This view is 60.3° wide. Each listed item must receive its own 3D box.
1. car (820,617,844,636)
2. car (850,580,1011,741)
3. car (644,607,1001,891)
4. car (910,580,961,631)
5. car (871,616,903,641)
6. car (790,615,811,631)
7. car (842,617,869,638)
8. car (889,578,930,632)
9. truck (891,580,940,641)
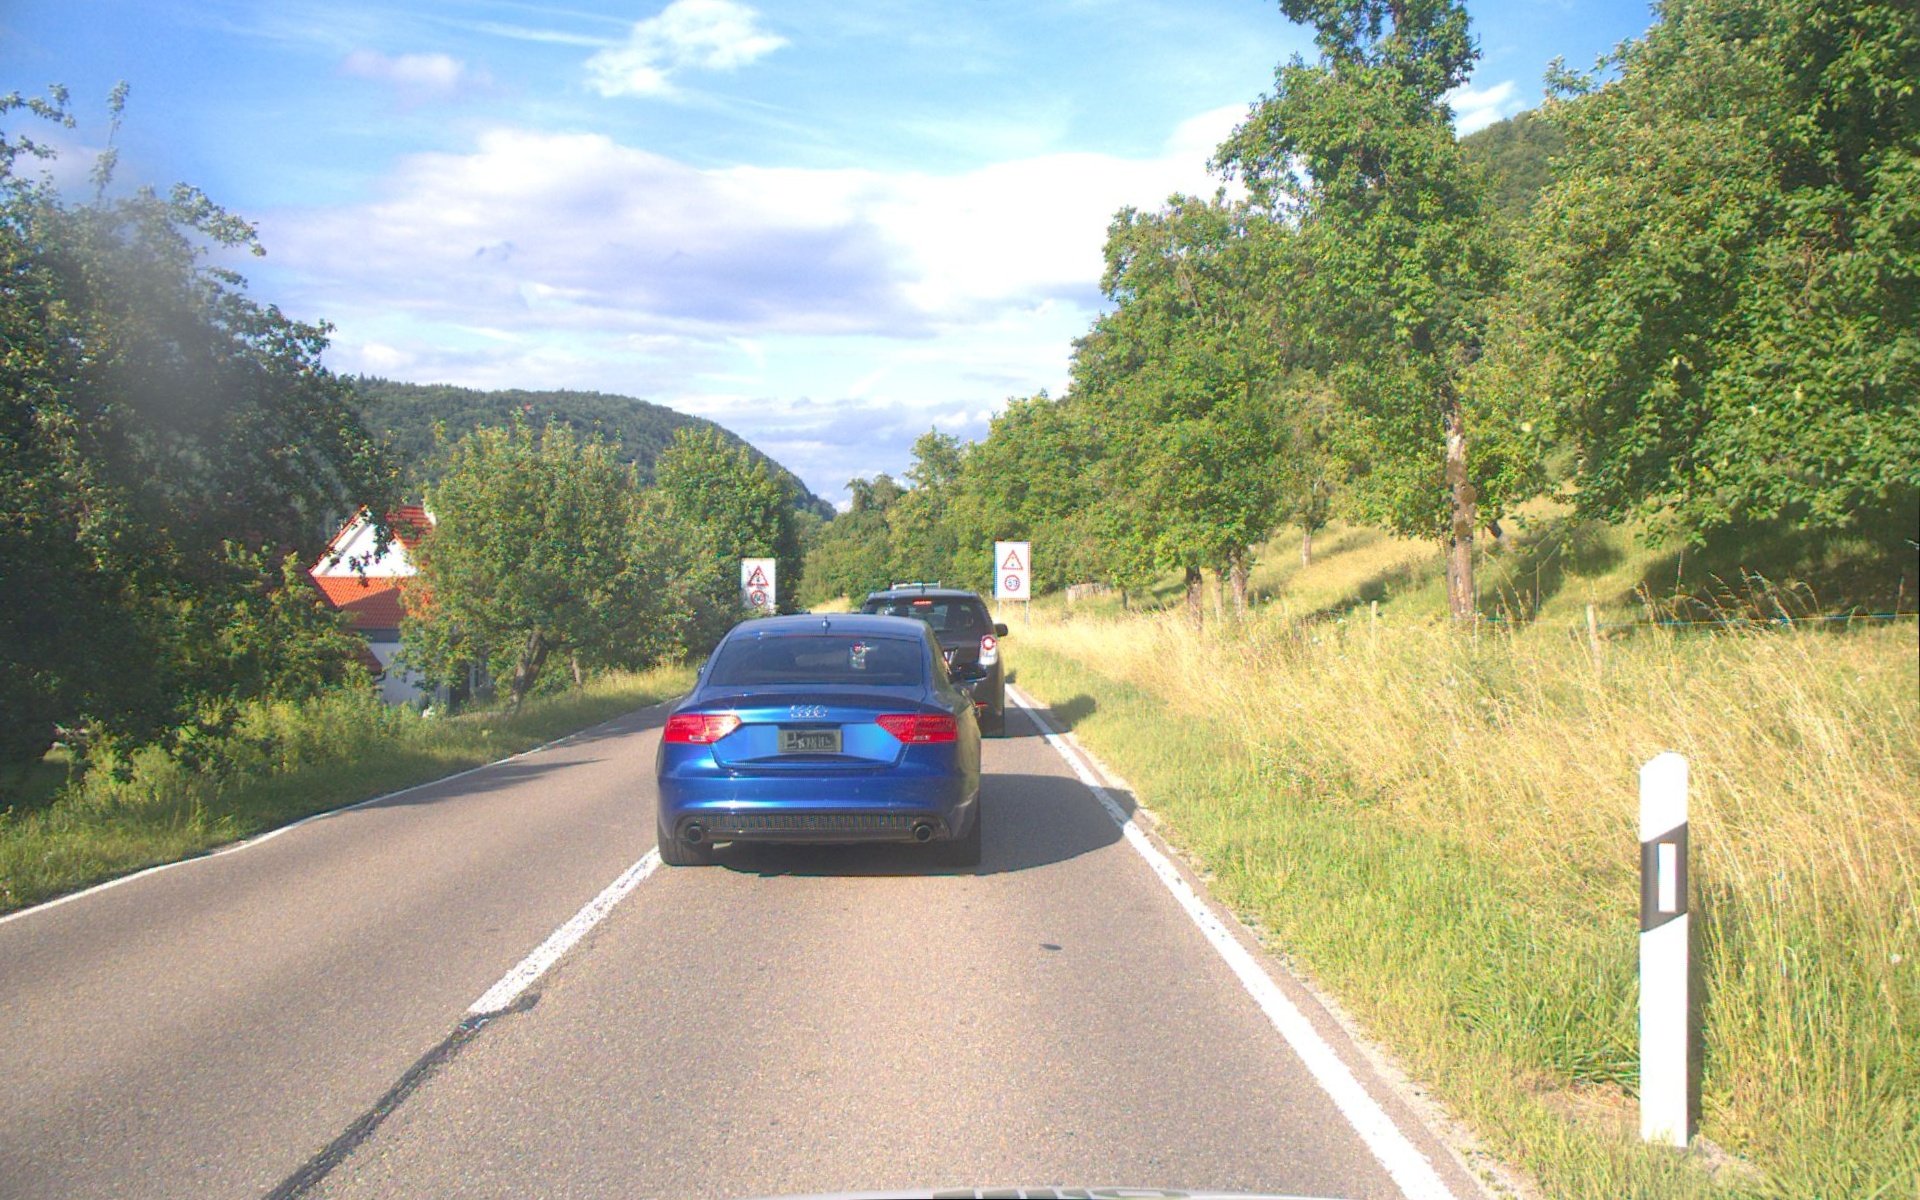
[{"bbox_3d":[-11.046,2.244,142.515,1.531,1.522,3.766,2,0,-12],"label":"car"},{"bbox_3d":[-0.346,0.620,19.053,1.658,1.652,3.788,0,0,-1],"label":"car"},{"bbox_3d":[-0.704,0.755,10.328,1.769,1.406,4.214,0,0,-1],"label":"car"},{"bbox_3d":[-0.839,0.185,55.656,1.658,1.652,3.788,0,0,-1],"label":"car"},{"bbox_3d":[-4.878,1.862,110.129,1.716,1.522,3.770,2,0,-9],"label":"car"},{"bbox_3d":[-15.677,2.256,161.968,1.532,1.522,3.765,2,0,-13],"label":"car"},{"bbox_3d":[-8.102,2.113,128.166,1.716,1.522,3.770,2,0,-9],"label":"car"},{"bbox_3d":[-2.446,0.234,79.177,1.757,2.496,3.916,2,0,-4],"label":"car"},{"bbox_3d":[-1.880,0.428,69.233,1.910,2.386,5.092,2,0,-2],"label":"truck"}]
